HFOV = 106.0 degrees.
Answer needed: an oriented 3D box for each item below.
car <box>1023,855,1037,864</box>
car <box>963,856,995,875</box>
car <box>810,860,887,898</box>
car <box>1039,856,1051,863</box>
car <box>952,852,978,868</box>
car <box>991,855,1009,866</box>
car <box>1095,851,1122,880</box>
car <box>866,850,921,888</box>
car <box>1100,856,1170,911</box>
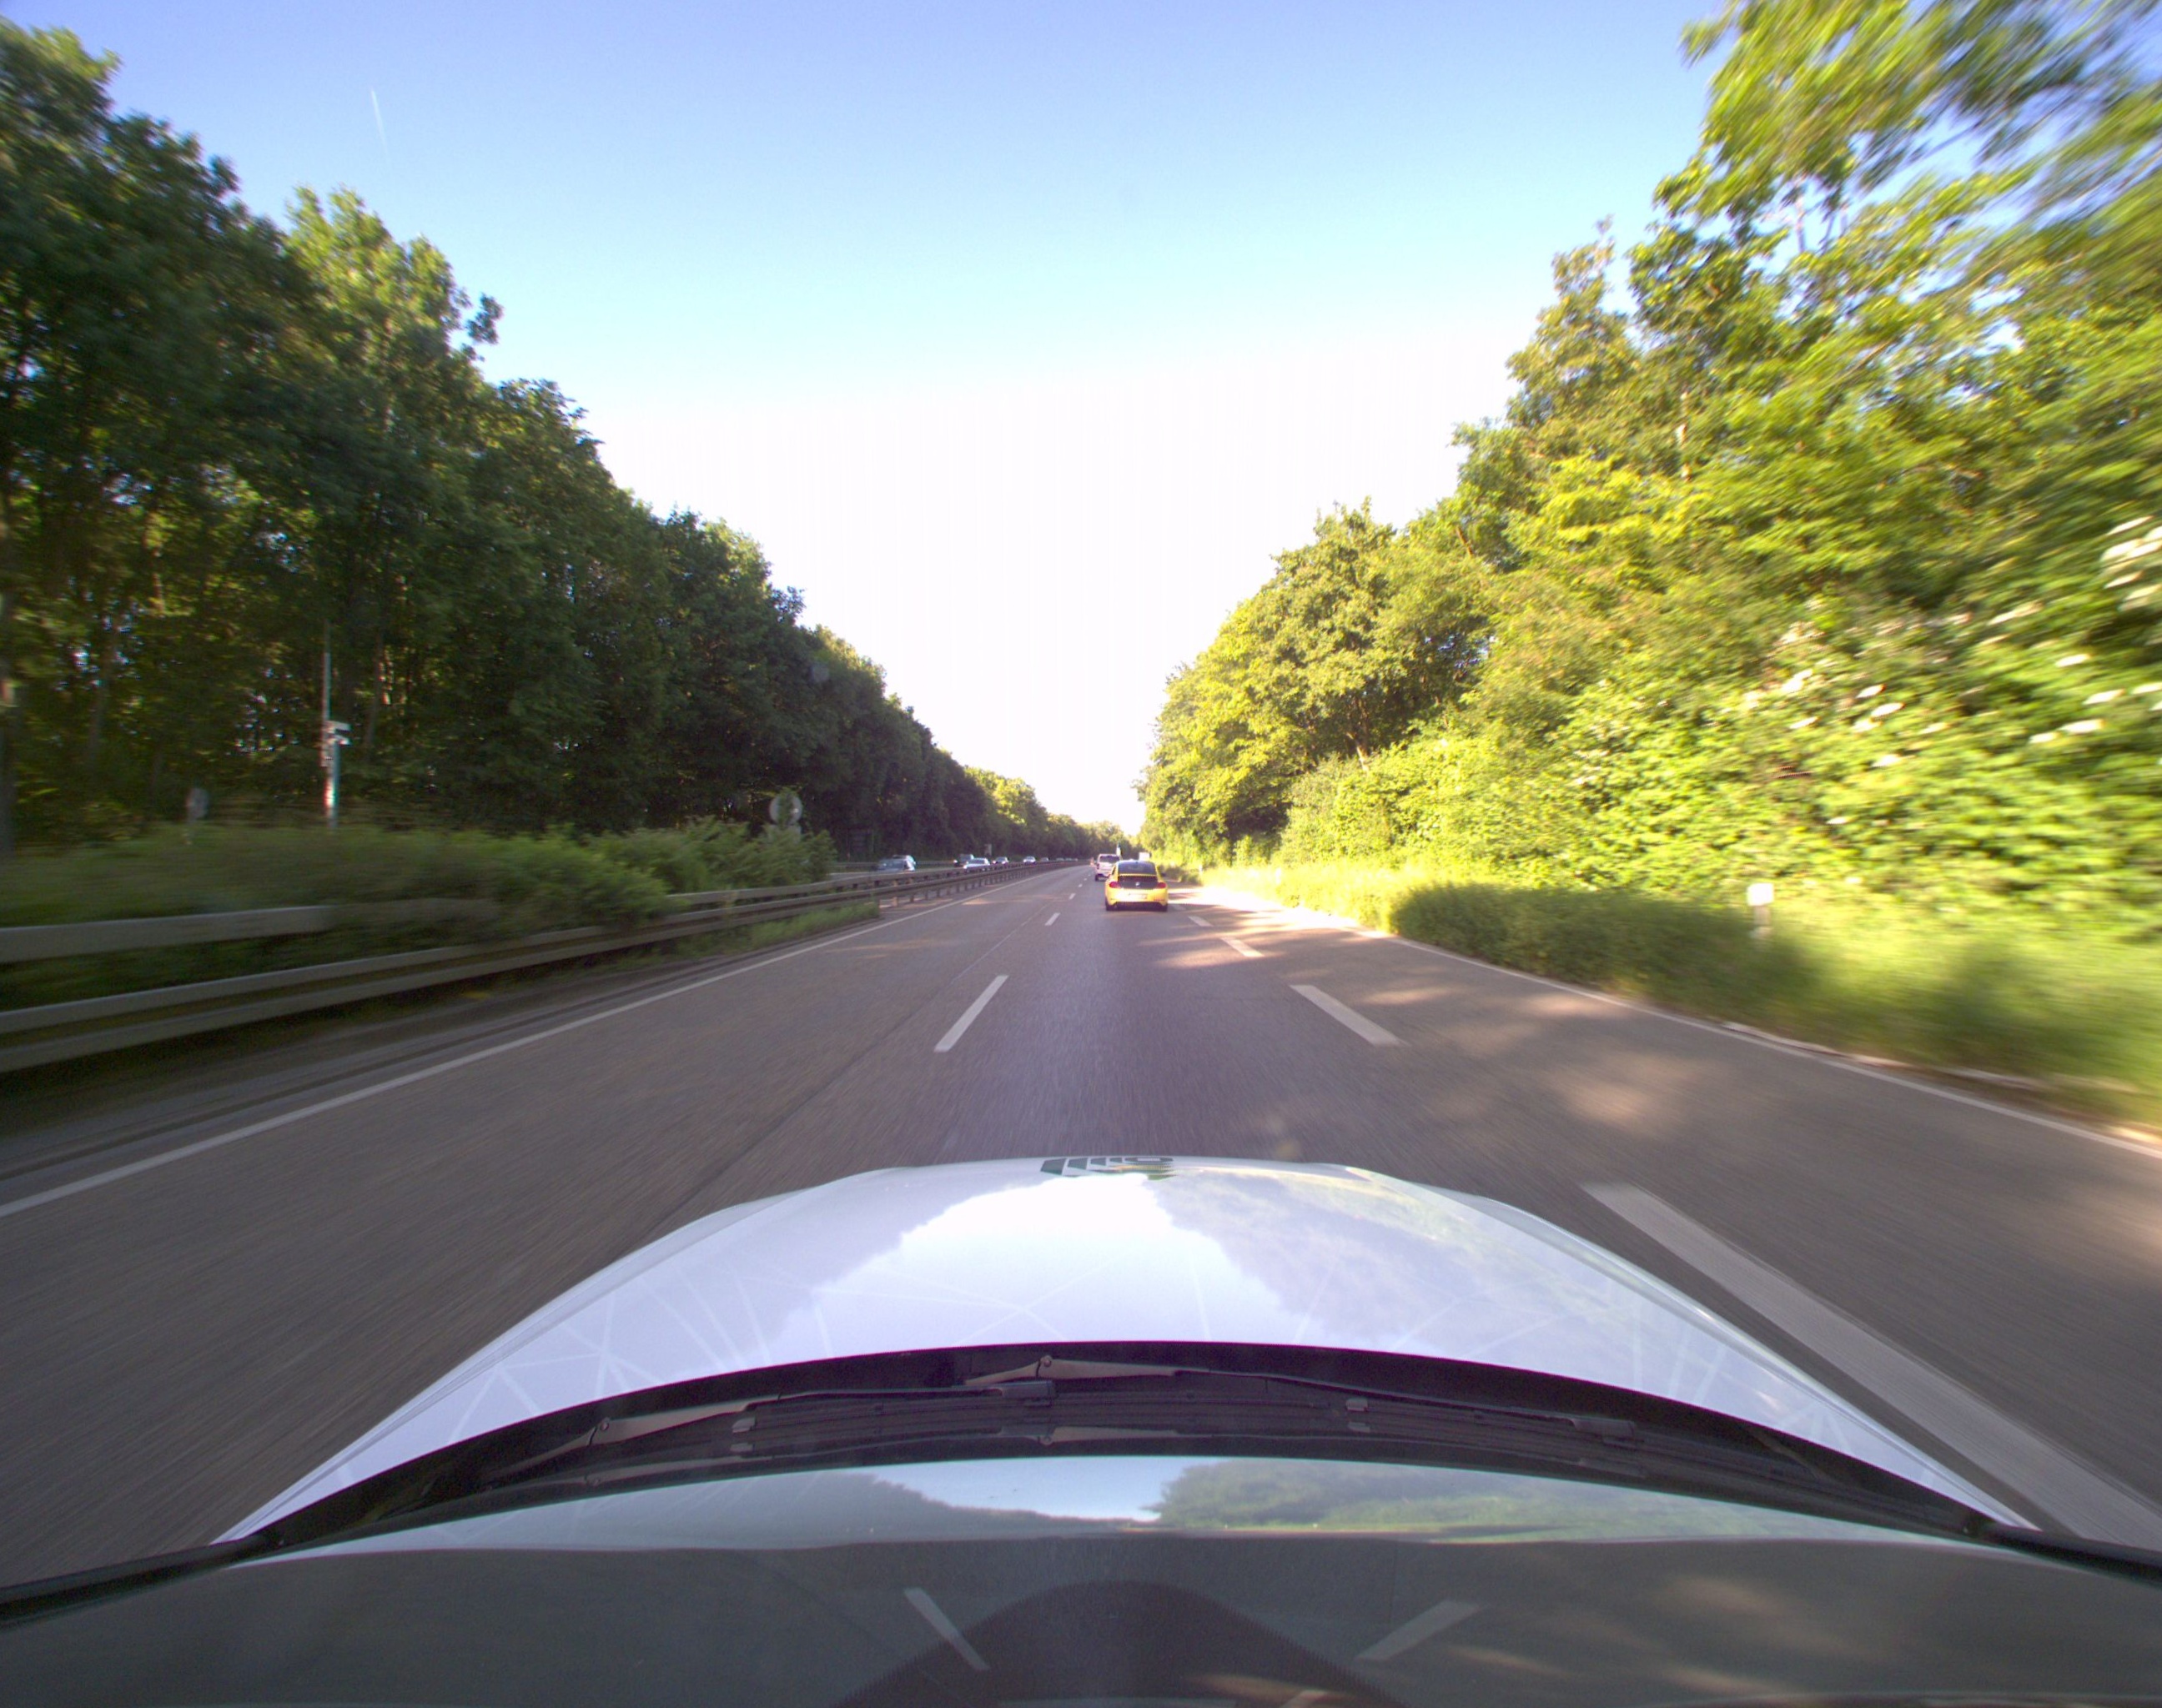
[{"bbox_3d":[-9.256,0.995,148.110,1.984,1.623,4.796,-1,-1,5],"label":"car"},{"bbox_3d":[-8.618,0.952,69.346,1.986,1.560,4.709,-1,-1,2],"label":"car"},{"bbox_3d":[-9.834,1.027,34.841,1.986,1.540,4.120,-1,-1,2],"label":"car"},{"bbox_3d":[-7.550,1.200,170.147,1.985,1.464,4.004,-1,-1,3],"label":"car"},{"bbox_3d":[-12.746,0.682,89.931,1.986,1.699,4.910,-2,-1,2],"label":"car"},{"bbox_3d":[-11.521,0.953,116.198,1.986,1.486,4.001,-1,-1,2],"label":"car"},{"bbox_3d":[1.794,0.753,53.898,1.735,1.830,3.423,-1,-1,1],"label":"car"},{"bbox_3d":[-9.723,0.749,42.520,1.781,1.860,4.001,-1,-1,2],"label":"car"},{"bbox_3d":[1.659,0.841,24.445,1.930,1.508,3.427,-1,-1,5],"label":"car"}]
